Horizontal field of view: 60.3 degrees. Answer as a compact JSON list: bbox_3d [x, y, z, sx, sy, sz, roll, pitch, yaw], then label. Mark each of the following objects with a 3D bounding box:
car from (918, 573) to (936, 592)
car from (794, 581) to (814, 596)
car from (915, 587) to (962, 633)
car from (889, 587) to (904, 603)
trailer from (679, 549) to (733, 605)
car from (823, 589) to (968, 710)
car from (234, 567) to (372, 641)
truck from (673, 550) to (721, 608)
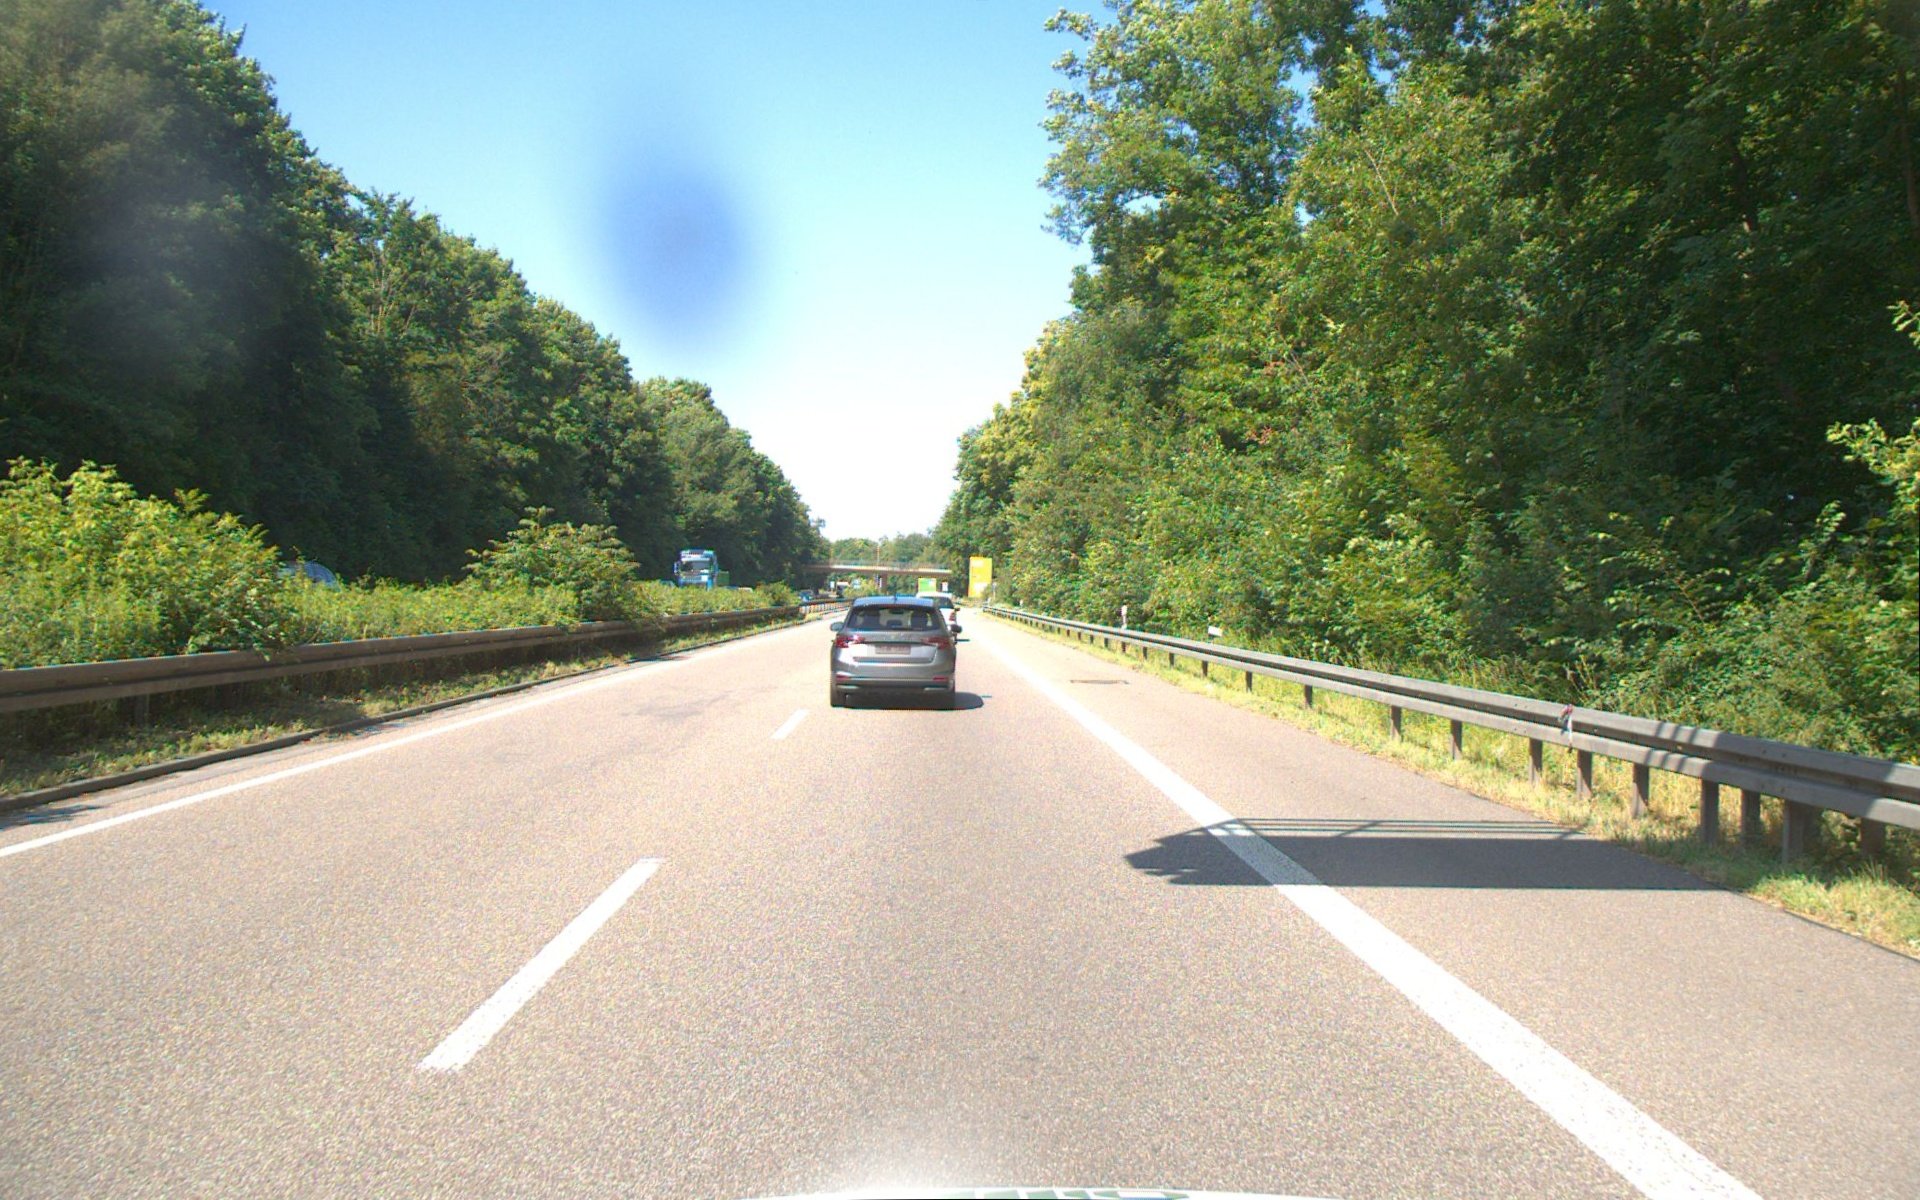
[{"bbox_3d":[-4.855,-2.555,243.677,2.693,2.700,3.999,1,0,-1],"label":"car"},{"bbox_3d":[-15.915,-1.144,169.077,1.638,1.499,3.623,1,0,0],"label":"car"},{"bbox_3d":[-0.697,0.324,55.711,1.491,1.472,3.340,1,0,0],"label":"car"},{"bbox_3d":[-8.488,-0.687,221.806,1.953,2.049,3.999,1,0,-1],"label":"car"},{"bbox_3d":[-17.800,-1.548,116.232,2.633,3.777,7.982,1,0,-1],"label":"trailer"},{"bbox_3d":[-0.807,0.615,22.717,1.802,1.497,3.624,1,0,0],"label":"car"},{"bbox_3d":[-16.188,0.054,41.008,1.658,1.691,4.712,-1,1,-2],"label":"car"},{"bbox_3d":[-17.700,-1.381,111.433,2.592,3.771,3.999,1,0,-1],"label":"truck"}]
